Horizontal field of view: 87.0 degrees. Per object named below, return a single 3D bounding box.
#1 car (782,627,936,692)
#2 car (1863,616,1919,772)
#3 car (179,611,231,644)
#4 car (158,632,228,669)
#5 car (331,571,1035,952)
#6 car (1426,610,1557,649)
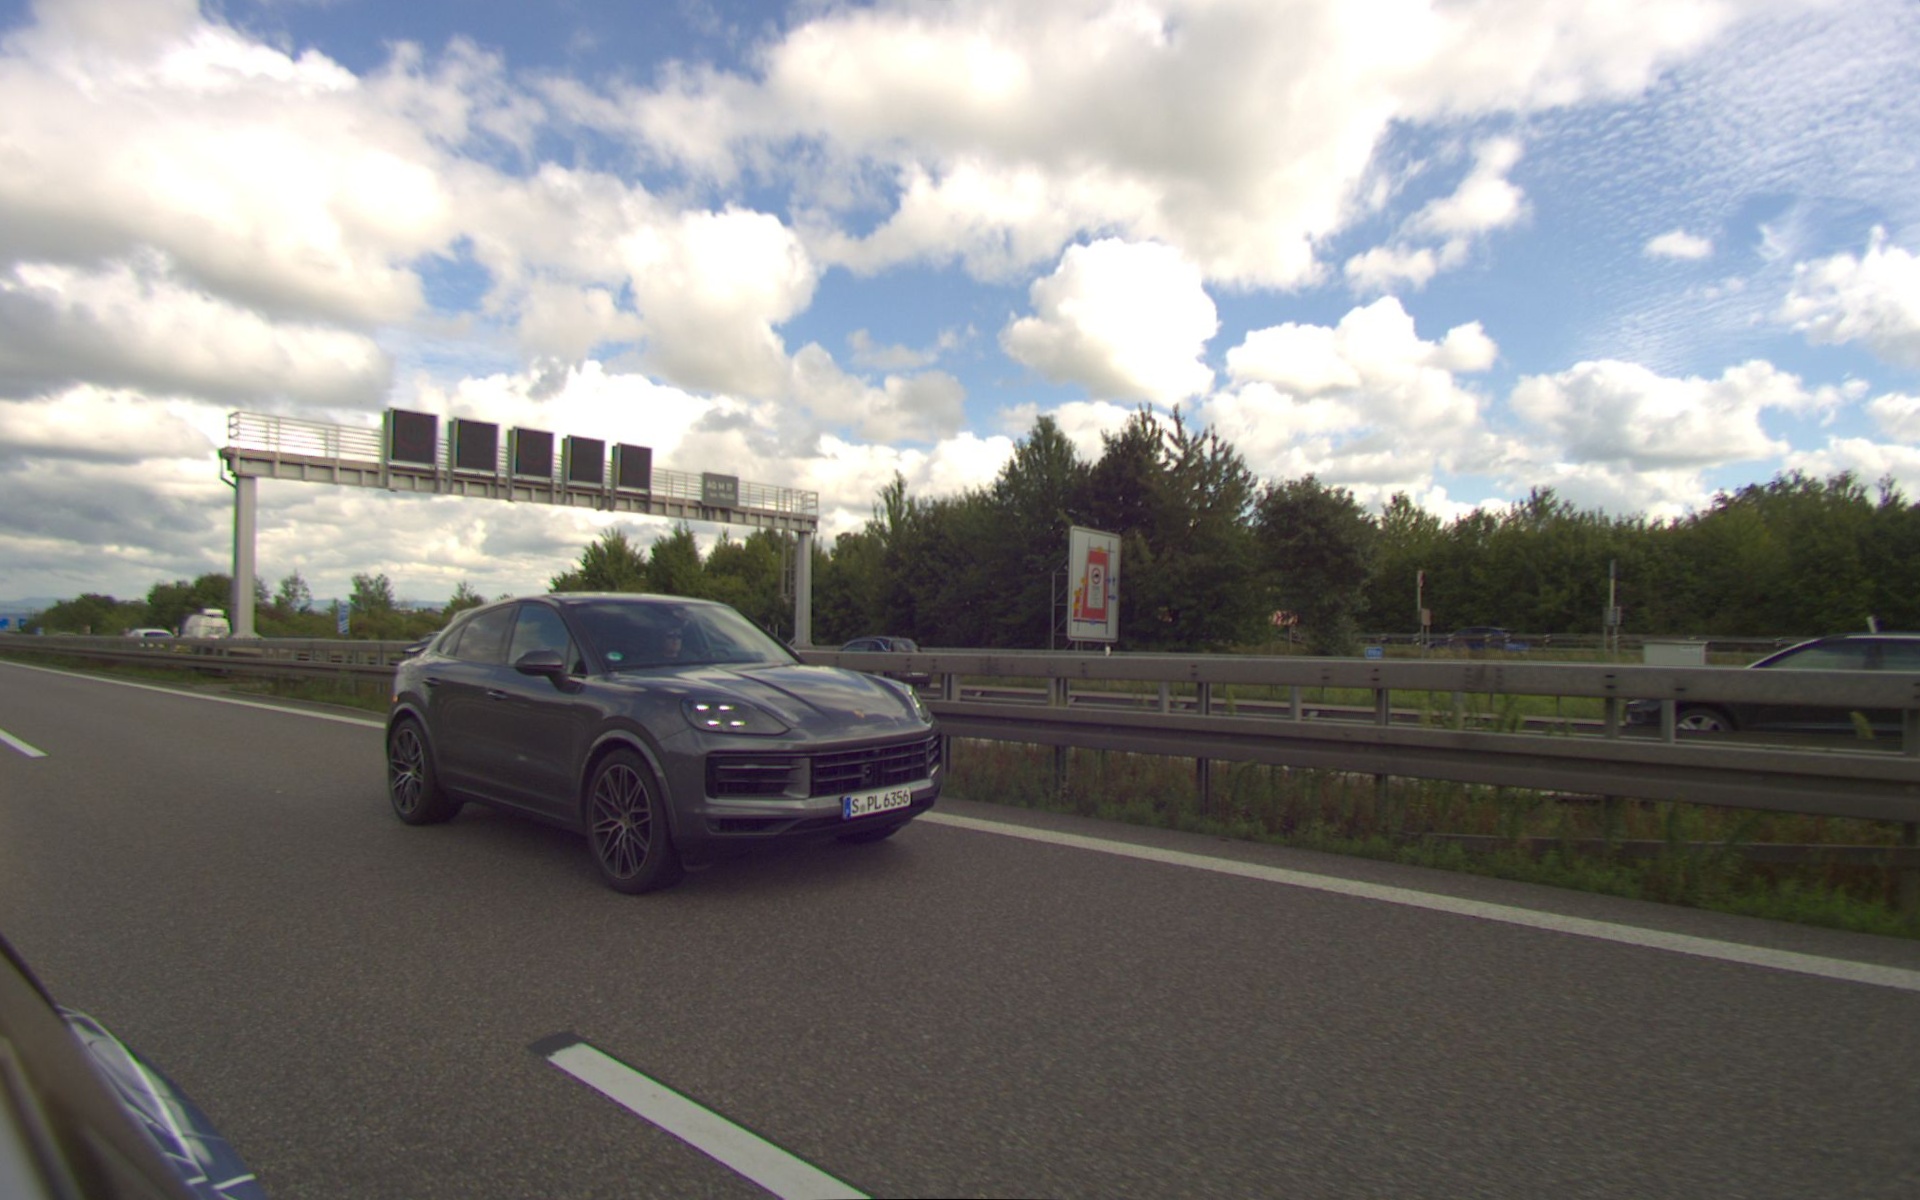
[{"bbox_3d":[-2.894,1.605,28.539,4.426,1.648,1.709,-1,-1,39],"label":"car"},{"bbox_3d":[12.171,0.987,10.223,4.426,1.648,1.709,-1,-1,39],"label":"car"},{"bbox_3d":[-54.703,1.985,73.342,4.573,2.301,1.978,-1,-1,39],"label":"car"},{"bbox_3d":[-37.366,2.434,49.268,4.426,1.648,1.709,-1,-1,39],"label":"car"},{"bbox_3d":[-2.262,0.732,6.908,5.496,1.648,1.893,-1,-1,41],"label":"car"},{"bbox_3d":[21.441,1.193,41.004,1.966,1.475,4.268,1,-2,-34],"label":"car"}]
